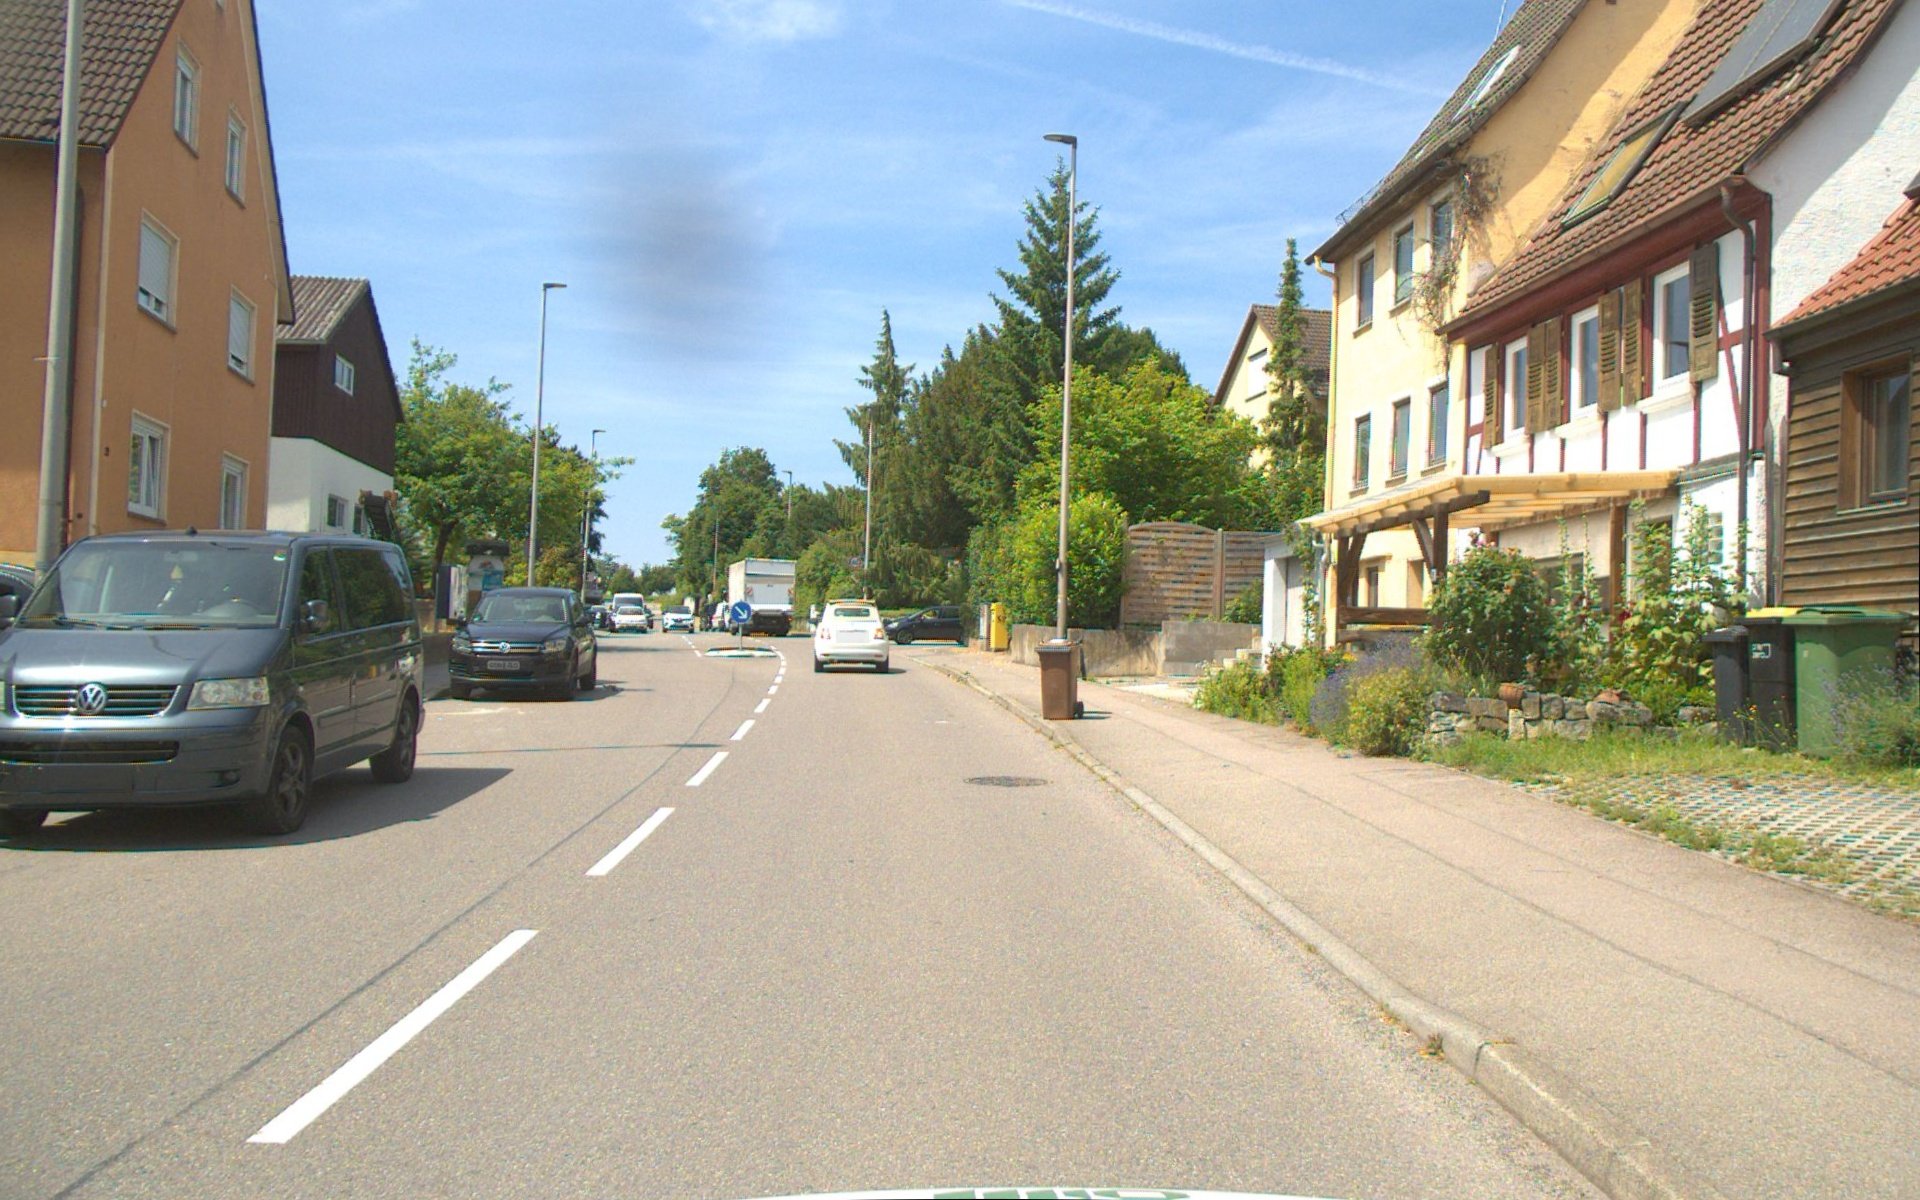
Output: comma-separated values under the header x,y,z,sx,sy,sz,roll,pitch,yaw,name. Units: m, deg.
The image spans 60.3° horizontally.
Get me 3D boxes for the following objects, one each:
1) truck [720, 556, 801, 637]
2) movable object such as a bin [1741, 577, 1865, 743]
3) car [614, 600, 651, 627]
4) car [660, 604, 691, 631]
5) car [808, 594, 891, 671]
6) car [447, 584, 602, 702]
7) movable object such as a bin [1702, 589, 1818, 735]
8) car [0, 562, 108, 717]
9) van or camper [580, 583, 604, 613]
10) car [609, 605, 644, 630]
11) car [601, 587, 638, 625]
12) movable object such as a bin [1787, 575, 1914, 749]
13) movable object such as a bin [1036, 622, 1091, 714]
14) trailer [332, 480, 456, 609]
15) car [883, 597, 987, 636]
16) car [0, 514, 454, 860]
x,y,z,sx,sy,sz,roll,pitch,yaw,name
-10.145,-0.135,83.350,3.017,3.840,7.837,1,-1,-14,truck
6.358,0.443,12.491,0.525,1.177,0.548,-6,0,-7,movable object such as a bin
-17.941,0.738,90.475,1.774,1.422,3.985,1,0,-14,car
-16.630,1.014,96.567,1.750,1.556,4.160,0,-1,-10,car
-2.453,0.680,36.506,1.691,1.587,3.996,1,0,-4,car
-6.626,0.605,25.558,1.735,1.664,4.281,0,0,-7,car
6.311,0.480,13.066,0.525,1.075,0.548,-6,0,-7,movable object such as a bin
-11.148,0.225,16.589,4.152,1.429,1.817,5,0,-10,car
-38.907,-0.226,174.959,2.224,3.014,5.873,2,0,-11,van or camper
-19.331,1.016,95.695,1.774,1.422,3.953,1,0,-14,car
-21.069,0.367,102.151,2.003,2.238,5.561,1,0,-14,car
6.412,0.437,11.923,0.524,1.177,0.510,-6,0,-6,movable object such as a bin
1.241,0.813,19.848,0.484,1.051,0.548,-3,0,19,movable object such as a bin
-13.953,-1.277,41.121,1.680,2.898,6.163,2,0,-8,trailer
-0.996,0.642,64.457,3.860,1.483,1.655,1,0,-9,car
-5.166,0.499,11.945,1.854,1.971,4.981,0,0,-5,car
